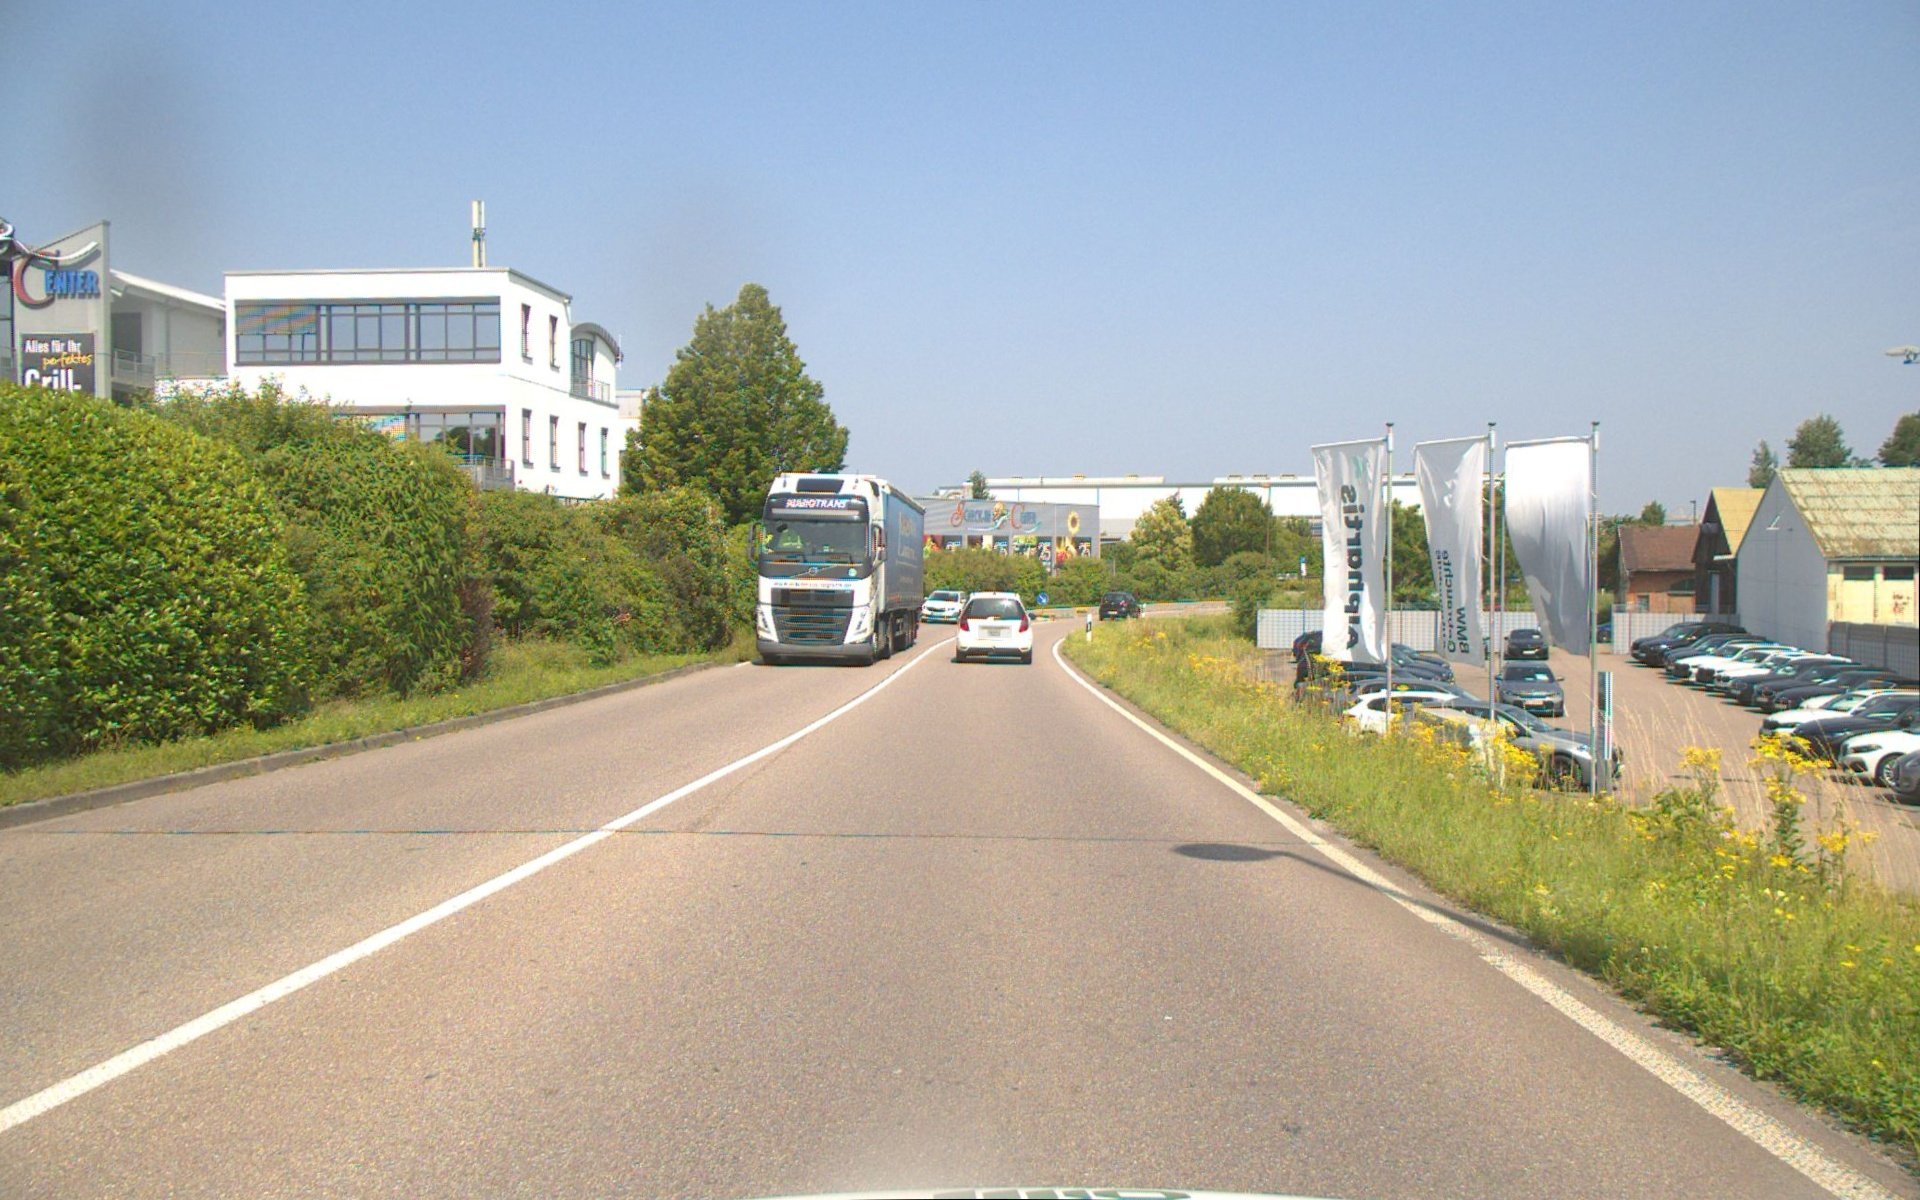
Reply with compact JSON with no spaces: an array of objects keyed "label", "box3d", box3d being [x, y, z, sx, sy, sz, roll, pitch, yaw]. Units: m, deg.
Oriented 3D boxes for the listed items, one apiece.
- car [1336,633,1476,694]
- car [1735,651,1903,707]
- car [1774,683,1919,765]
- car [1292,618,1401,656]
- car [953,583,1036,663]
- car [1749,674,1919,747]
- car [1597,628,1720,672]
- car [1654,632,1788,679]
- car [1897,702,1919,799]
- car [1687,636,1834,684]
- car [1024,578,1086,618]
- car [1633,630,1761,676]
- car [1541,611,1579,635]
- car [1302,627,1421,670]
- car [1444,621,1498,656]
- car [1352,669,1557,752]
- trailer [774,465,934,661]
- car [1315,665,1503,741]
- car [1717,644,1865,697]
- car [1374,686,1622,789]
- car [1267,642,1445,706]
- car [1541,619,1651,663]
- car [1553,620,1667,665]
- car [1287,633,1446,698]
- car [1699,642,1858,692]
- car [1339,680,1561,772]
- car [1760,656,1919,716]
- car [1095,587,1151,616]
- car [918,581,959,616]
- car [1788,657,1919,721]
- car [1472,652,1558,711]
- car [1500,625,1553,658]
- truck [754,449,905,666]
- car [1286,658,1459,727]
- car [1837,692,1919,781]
[{"label":"car","box3d":[14.953,2.087,55.501,4.154,1.730,1.911,1,3,38]},{"label":"car","box3d":[26.021,2.372,50.166,4.229,1.549,1.795,0,0,-5]},{"label":"car","box3d":[19.923,2.598,35.109,4.334,1.549,1.932,0,1,1]},{"label":"car","box3d":[17.684,1.677,75.758,4.545,1.524,1.852,1,3,33]},{"label":"car","box3d":[0.778,0.491,38.461,1.745,1.631,3.894,3,1,0]},{"label":"car","box3d":[20.963,2.550,38.435,4.331,1.549,1.933,0,0,6]},{"label":"car","box3d":[28.295,2.026,67.042,4.245,1.603,1.907,0,2,-10]},{"label":"car","box3d":[28.533,2.065,62.054,4.245,1.549,1.907,0,2,-10]},{"label":"car","box3d":[18.300,2.657,28.456,3.718,1.549,1.749,1,0,28]},{"label":"car","box3d":[28.662,2.130,59.277,4.515,1.549,1.907,0,2,-10]},{"label":"car","box3d":[5.045,-0.128,87.132,1.954,2.049,3.998,1,0,24]},{"label":"car","box3d":[28.745,2.045,64.527,4.245,1.603,1.907,0,2,-10]},{"label":"car","box3d":[38.861,1.476,107.052,1.954,1.422,3.996,1,0,26]},{"label":"car","box3d":[16.871,2.010,69.487,4.541,1.633,1.853,1,1,29]},{"label":"car","box3d":[24.966,1.849,80.697,1.814,1.561,4.639,1,0,26]},{"label":"car","box3d":[11.002,2.425,36.850,4.080,1.549,1.853,1,0,29]},{"label":"trailer","box3d":[-2.469,-0.878,44.047,2.614,4.315,14.571,1,0,3]},{"label":"car","box3d":[10.866,2.463,40.072,4.081,1.549,1.853,1,0,30]},{"label":"car","box3d":[26.594,2.238,52.978,3.919,1.549,1.757,0,0,-5]},{"label":"car","box3d":[9.959,2.500,30.725,4.086,1.549,1.685,1,0,34]},{"label":"car","box3d":[11.144,2.049,46.683,4.545,1.549,1.851,1,0,33]},{"label":"car","box3d":[28.857,1.848,75.061,4.245,1.835,1.995,0,2,-10]},{"label":"car","box3d":[28.361,1.835,72.216,4.245,1.835,1.907,0,2,-10]},{"label":"car","box3d":[12.802,2.022,52.152,4.548,1.730,1.851,1,3,35]},{"label":"car","box3d":[27.854,2.261,56.338,4.555,1.549,1.910,0,0,-5]},{"label":"car","box3d":[10.034,2.531,33.922,4.081,1.549,1.748,1,0,30]},{"label":"car","box3d":[25.471,2.429,47.095,4.514,1.549,1.930,0,0,-5]},{"label":"car","box3d":[8.865,0.055,89.841,1.792,1.496,4.409,1,0,23]},{"label":"car","box3d":[-0.955,-0.086,75.157,1.791,1.496,4.410,1,0,0]},{"label":"car","box3d":[24.906,2.364,44.368,4.514,1.549,1.930,0,0,-5]},{"label":"car","box3d":[16.614,2.407,49.687,2.090,1.483,4.536,1,0,14]},{"label":"car","box3d":[27.303,1.971,79.635,1.954,1.422,3.996,1,0,26]},{"label":"truck","box3d":[-2.742,-0.877,36.425,2.460,4.332,6.115,-1,0,3]},{"label":"car","box3d":[10.836,2.401,43.491,4.081,1.549,1.853,1,0,30]},{"label":"car","box3d":[19.108,2.636,31.691,3.876,1.550,1.751,0,0,22]}]
